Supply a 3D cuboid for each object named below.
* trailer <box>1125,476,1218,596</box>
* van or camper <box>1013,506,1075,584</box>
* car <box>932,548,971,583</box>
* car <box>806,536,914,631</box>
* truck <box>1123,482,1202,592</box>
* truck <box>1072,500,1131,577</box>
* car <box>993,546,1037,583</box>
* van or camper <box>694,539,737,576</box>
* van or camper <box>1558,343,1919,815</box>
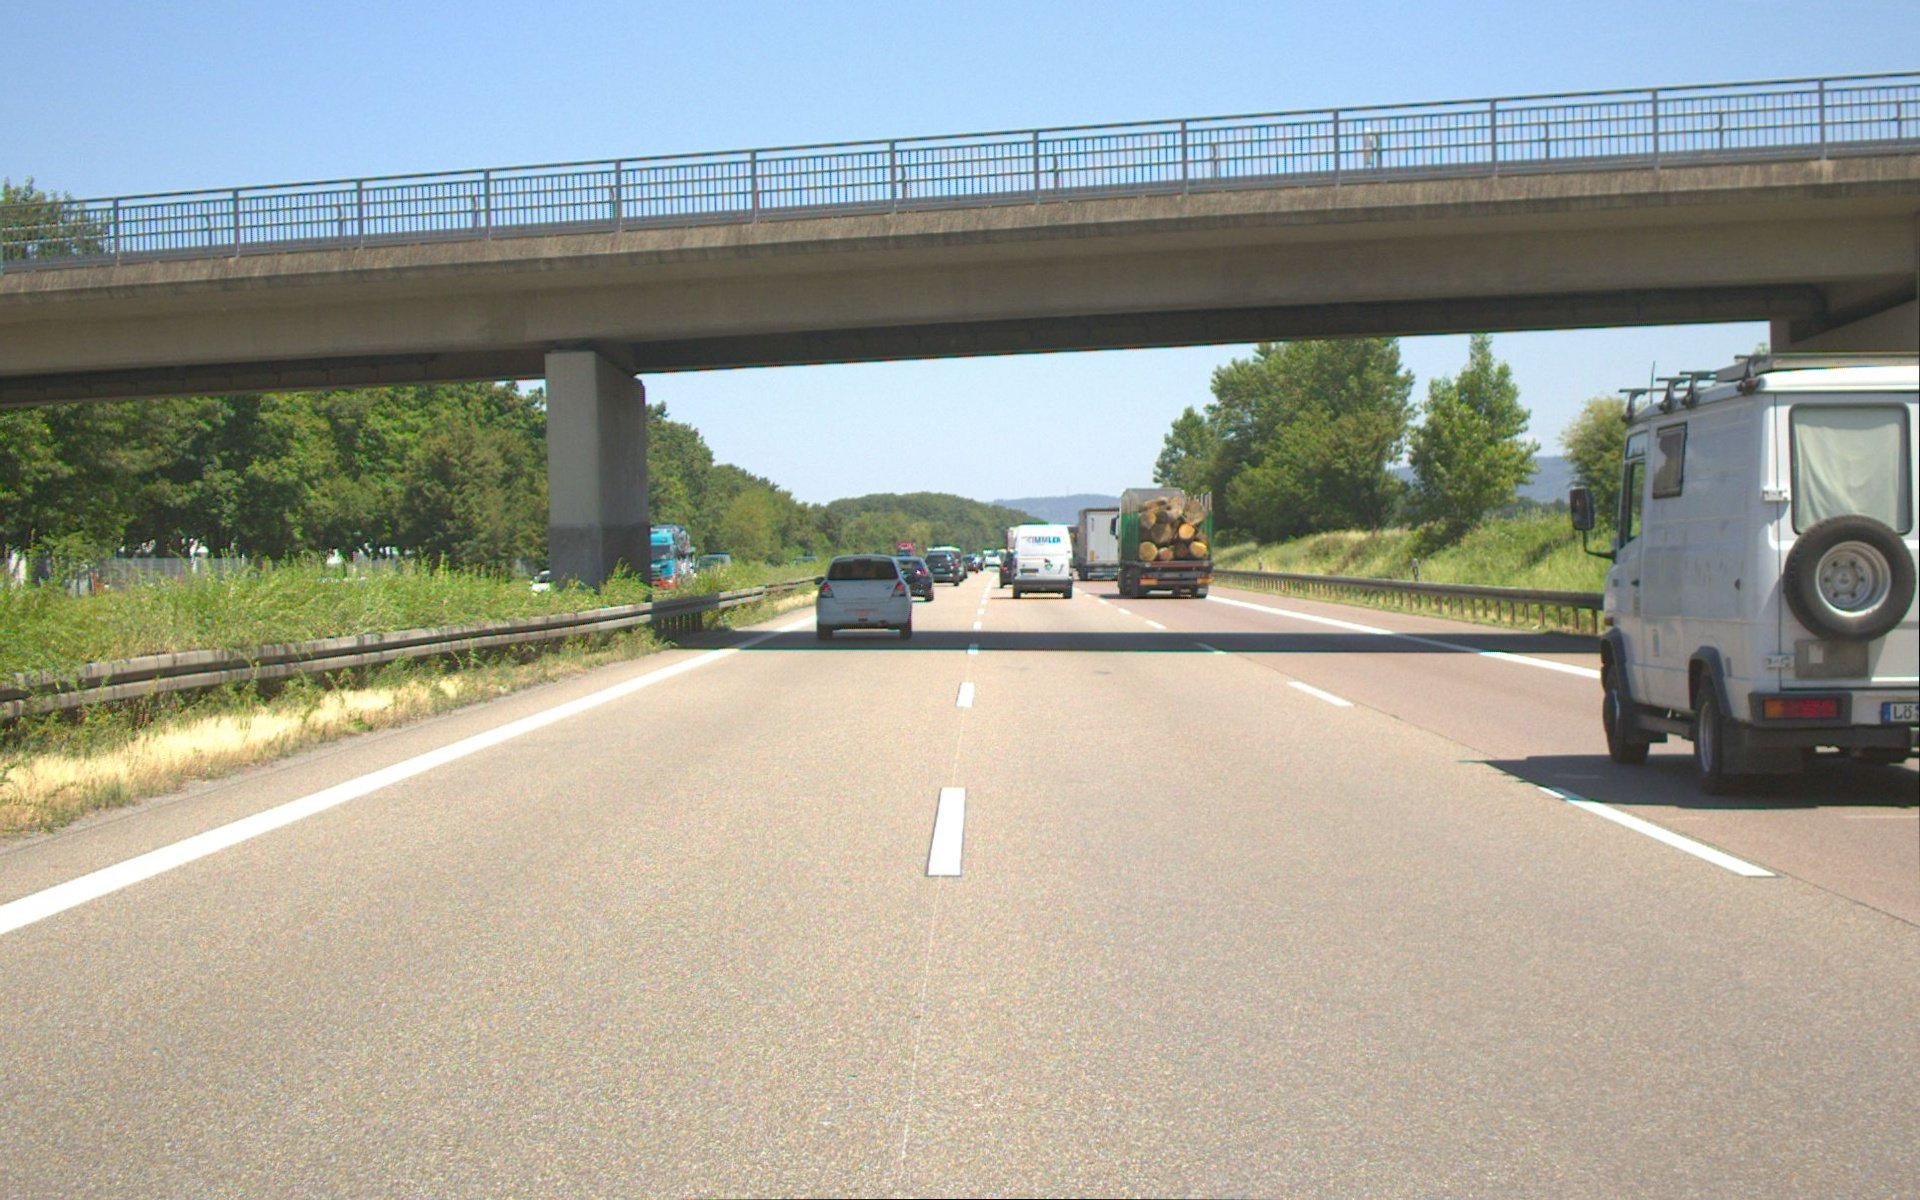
[{"bbox_3d":[7.307,-2.198,120.101,2.653,3.945,13.636,0,1,1],"label":"trailer"},{"bbox_3d":[2.867,-1.878,117.907,2.058,2.613,5.985,0,1,1],"label":"van or camper"},{"bbox_3d":[-0.398,-1.661,165.334,1.857,1.646,4.000,0,1,0],"label":"car"},{"bbox_3d":[-1.777,-0.306,62.262,1.857,1.646,4.000,1,1,0],"label":"car"},{"bbox_3d":[7.445,-2.307,127.111,2.670,3.981,6.636,0,1,1],"label":"truck"},{"bbox_3d":[8.058,-3.451,197.321,3.079,4.194,16.843,1,1,2],"label":"truck"},{"bbox_3d":[2.457,-1.591,153.424,1.857,1.646,4.000,0,1,0],"label":"car"},{"bbox_3d":[-13.238,-2.299,186.237,1.993,1.863,4.456,-3,1,0],"label":"van or camper"},{"bbox_3d":[5.588,-0.152,22.824,2.113,2.694,6.368,0,1,0],"label":"van or camper"}]
